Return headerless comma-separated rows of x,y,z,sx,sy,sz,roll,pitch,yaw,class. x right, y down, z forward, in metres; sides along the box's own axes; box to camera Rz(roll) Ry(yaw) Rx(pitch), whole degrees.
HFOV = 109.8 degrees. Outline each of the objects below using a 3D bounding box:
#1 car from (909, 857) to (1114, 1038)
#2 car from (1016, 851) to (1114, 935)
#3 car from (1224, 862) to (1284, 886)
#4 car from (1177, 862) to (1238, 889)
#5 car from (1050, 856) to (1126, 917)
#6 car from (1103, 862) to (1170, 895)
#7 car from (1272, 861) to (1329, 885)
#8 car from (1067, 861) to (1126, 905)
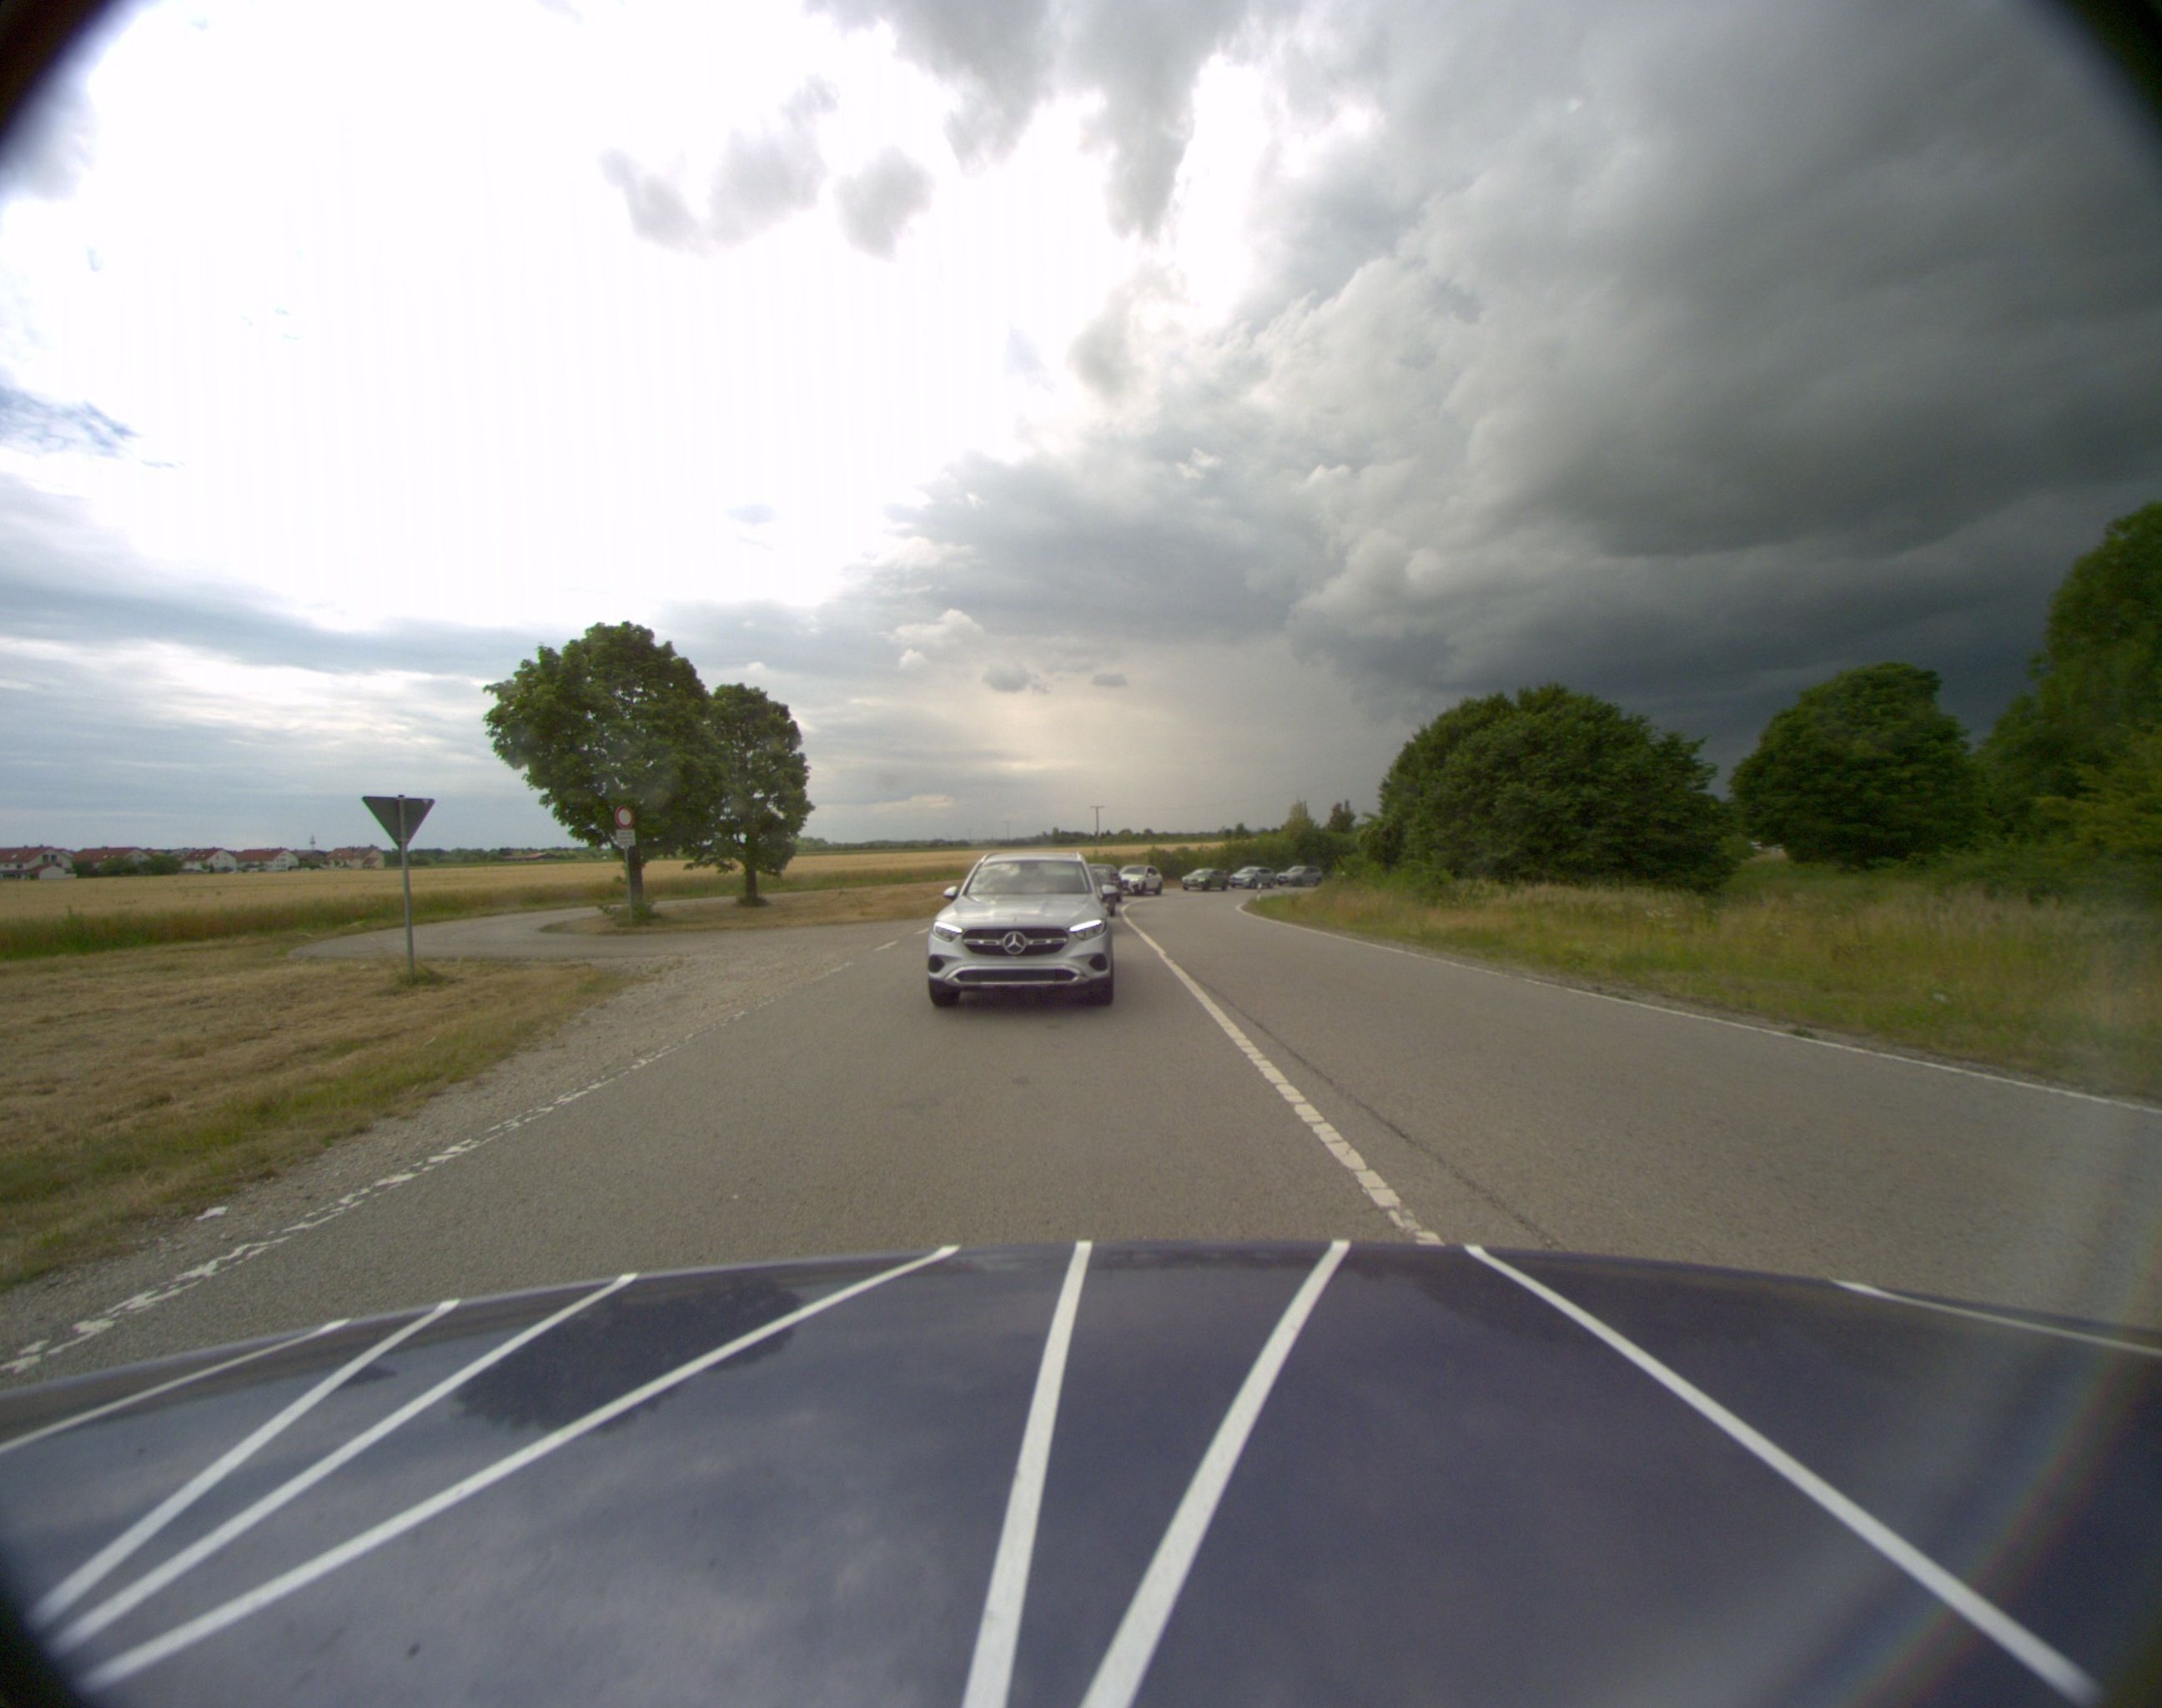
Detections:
-0.633,0.866,9.176,1.836,1.577,4.449,-1,0,0,car
-0.221,0.898,18.275,1.998,1.709,5.211,-1,-2,3,car
13.391,1.543,58.586,1.994,1.709,5.220,2,0,44,car
8.883,1.485,52.947,1.994,1.709,5.220,2,0,37,car
0.345,1.019,24.675,1.998,1.709,5.212,2,-1,5,car
3.247,1.329,43.312,1.995,1.709,5.218,2,0,25,car
18.386,1.546,63.562,5.218,1.710,1.994,-2,3,-41,car
0.782,1.203,33.596,1.997,1.709,5.212,2,0,8,car
